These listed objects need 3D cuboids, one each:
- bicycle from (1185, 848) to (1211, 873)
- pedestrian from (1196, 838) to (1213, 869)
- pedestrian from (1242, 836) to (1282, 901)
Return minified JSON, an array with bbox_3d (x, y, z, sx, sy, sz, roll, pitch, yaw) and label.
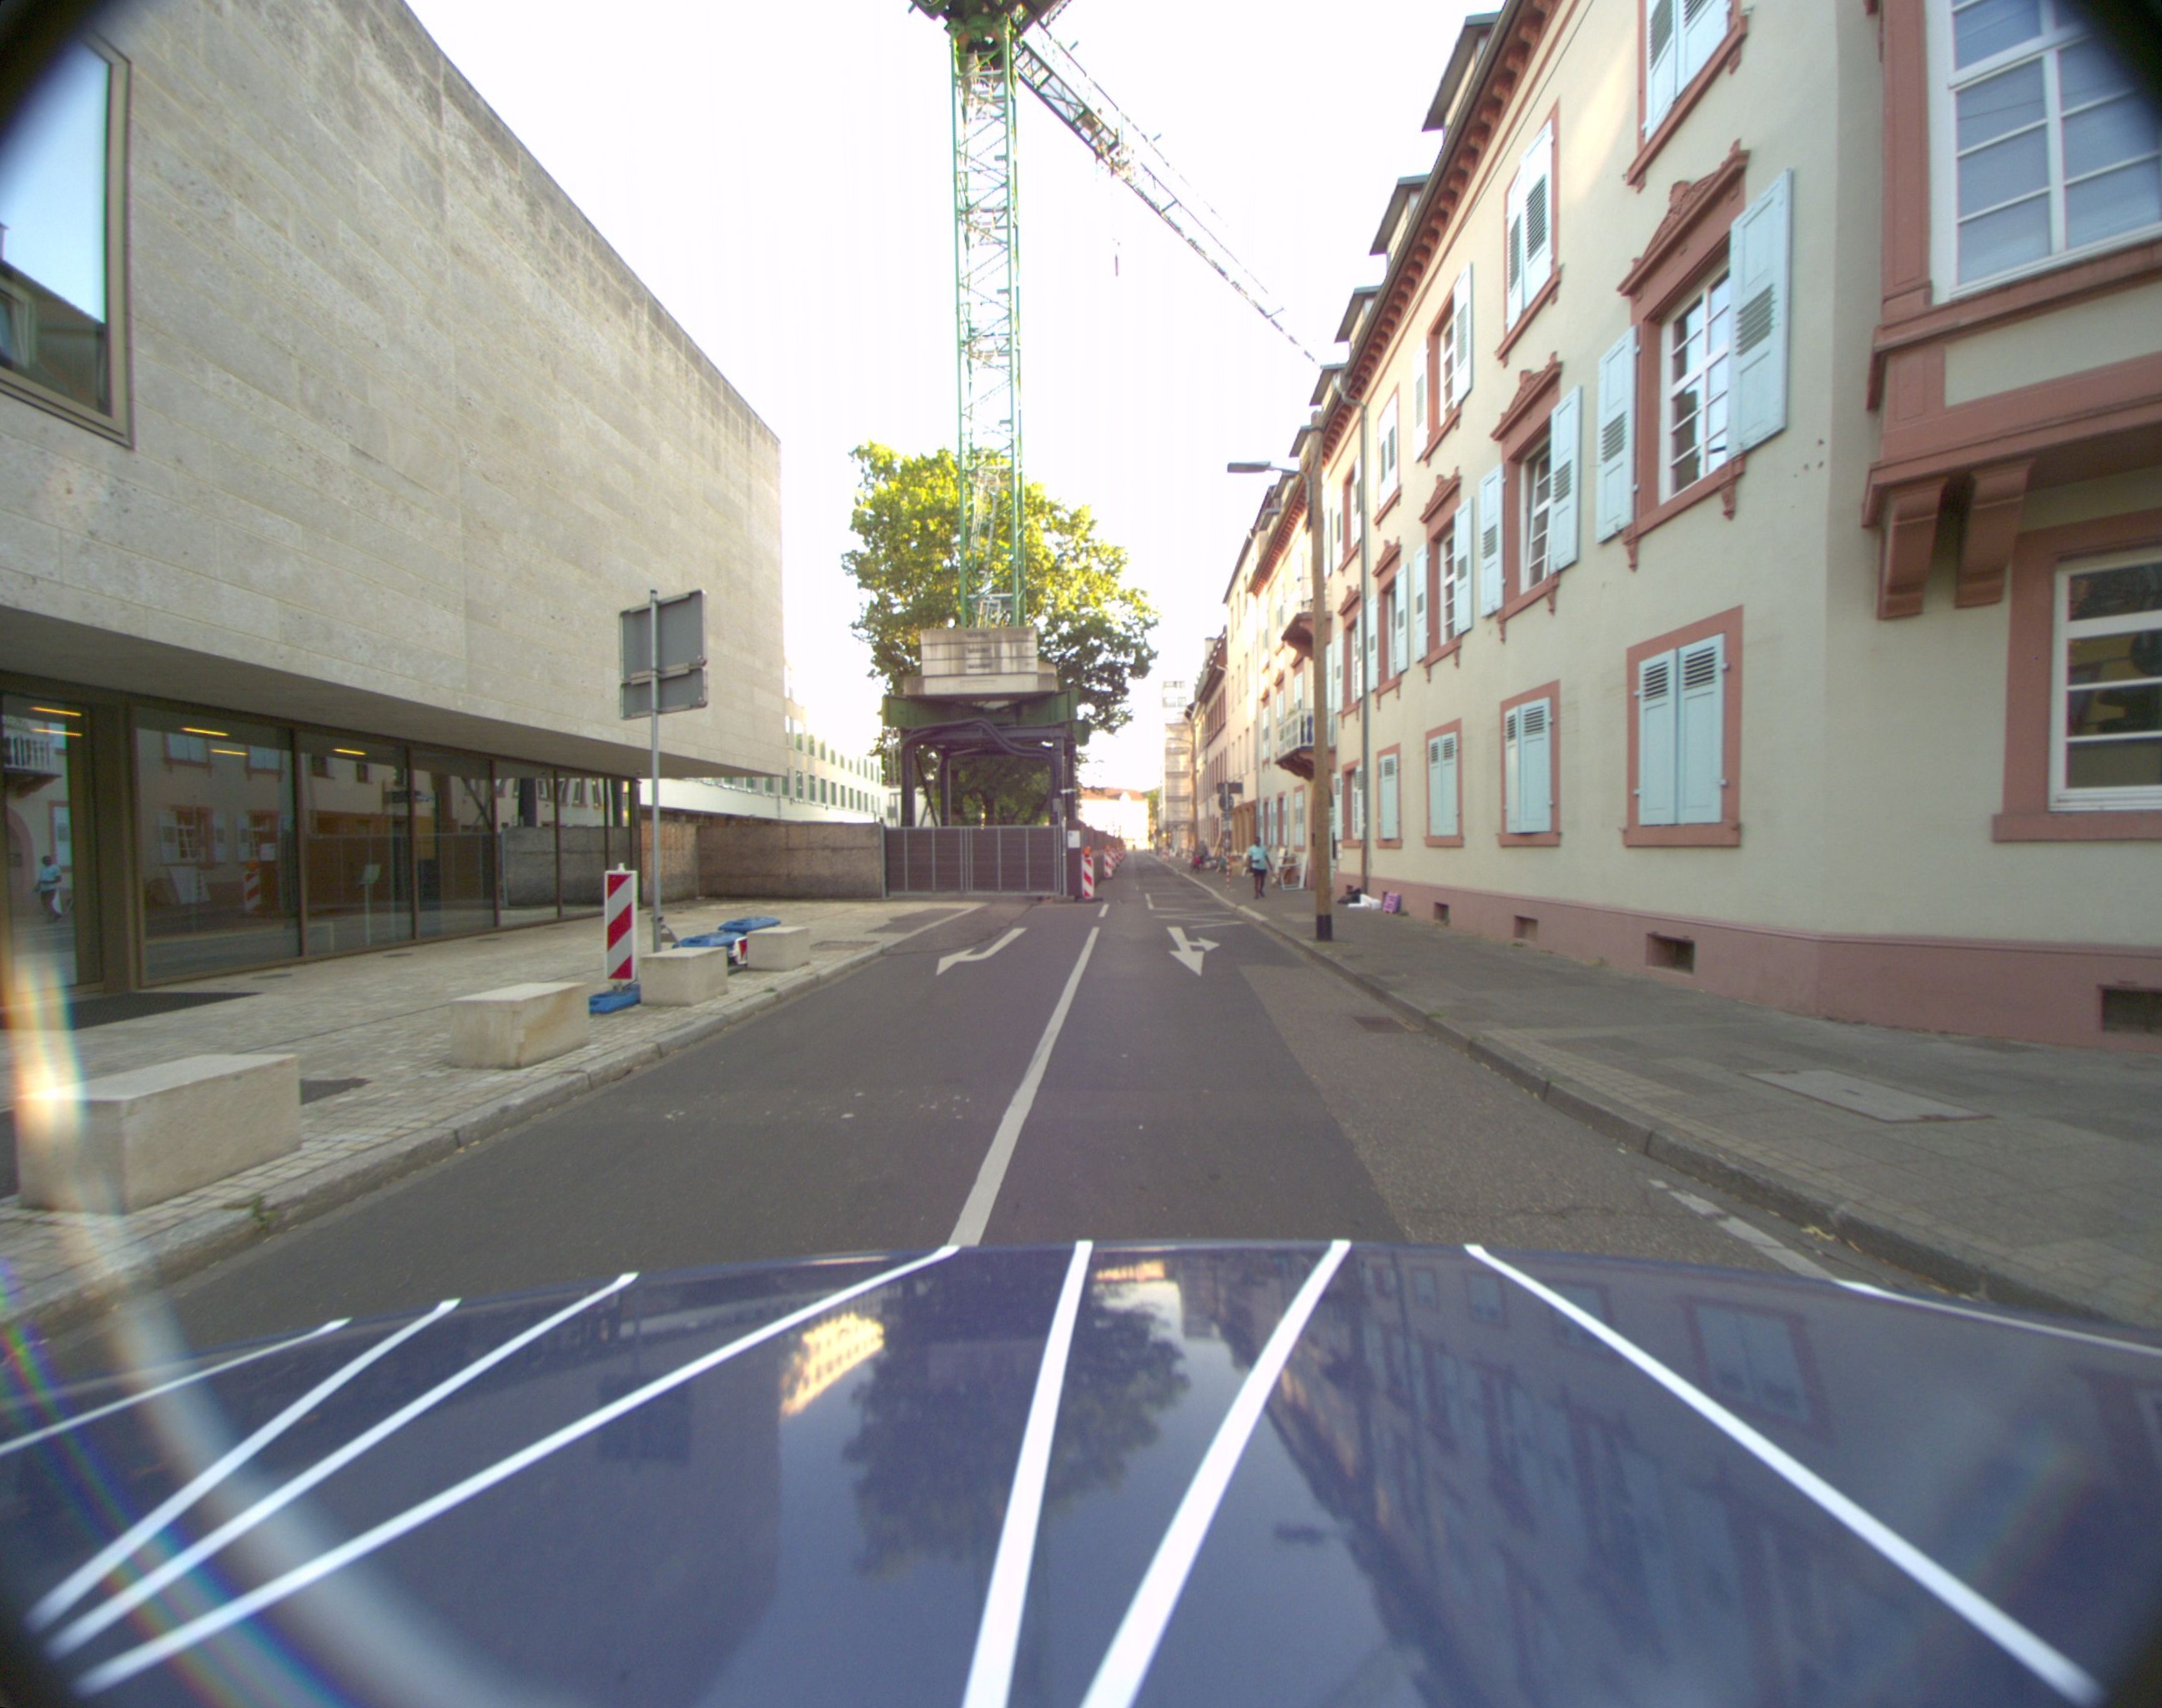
[{"bbox_3d":[5.710,0.318,36.993,0.659,1.163,1.611,-1,1,29],"label":"bicycle"},{"bbox_3d":[6.739,-0.025,41.501,0.826,1.687,0.649,-2,1,2],"label":"pedestrian"},{"bbox_3d":[4.868,0.377,20.459,0.826,1.687,0.649,-4,1,2],"label":"pedestrian"}]
